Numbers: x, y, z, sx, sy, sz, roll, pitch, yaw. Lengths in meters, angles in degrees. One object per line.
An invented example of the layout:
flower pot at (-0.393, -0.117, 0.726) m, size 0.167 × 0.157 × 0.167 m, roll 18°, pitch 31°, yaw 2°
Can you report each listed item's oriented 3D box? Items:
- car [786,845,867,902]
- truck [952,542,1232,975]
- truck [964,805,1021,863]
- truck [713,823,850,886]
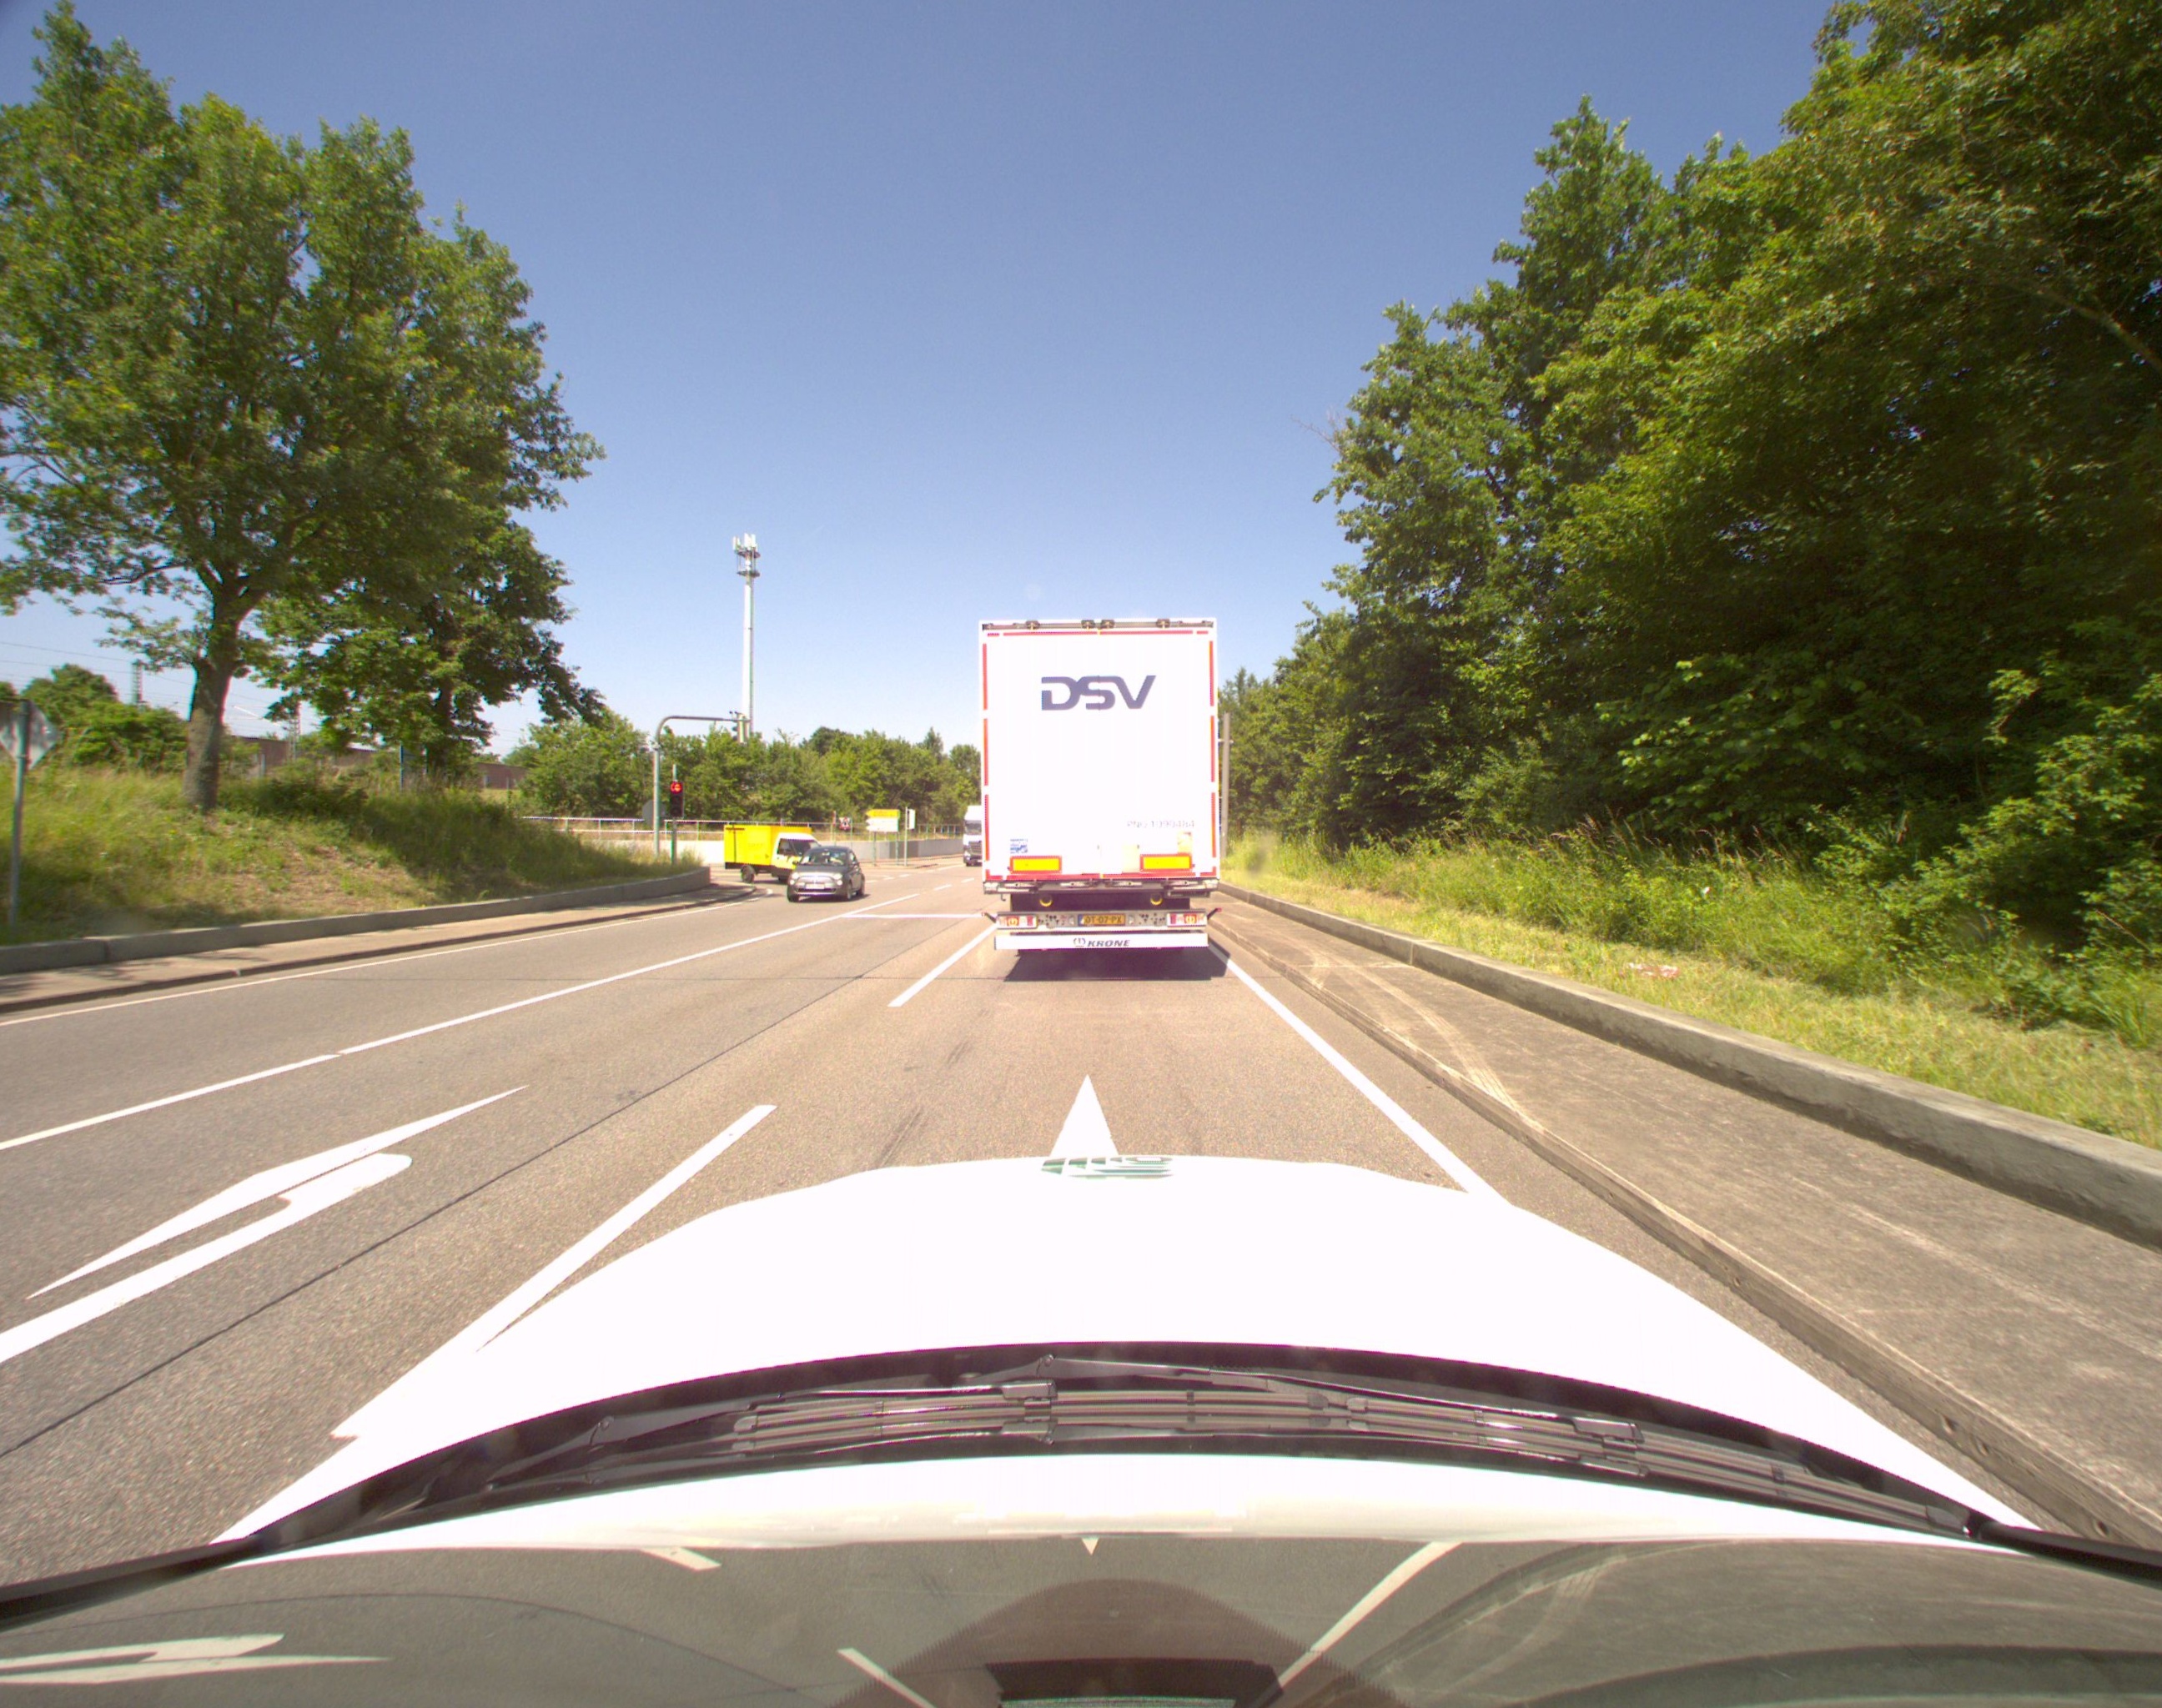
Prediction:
car at (-7.182, 0.503, 23.290) m, size 1.586 × 1.469 × 3.591 m, roll -1°, pitch 1°, yaw -8°
truck at (0.291, -1.075, 13.582) m, size 2.938 × 4.568 × 9.868 m, roll -1°, pitch 1°, yaw 2°
truck at (-6.191, -1.453, 58.881) m, size 2.344 × 3.749 × 12.631 m, roll -1°, pitch 1°, yaw 2°
truck at (-11.833, -0.027, 31.964) m, size 5.947 × 2.274 × 1.997 m, roll 0°, pitch 1°, yaw 35°
